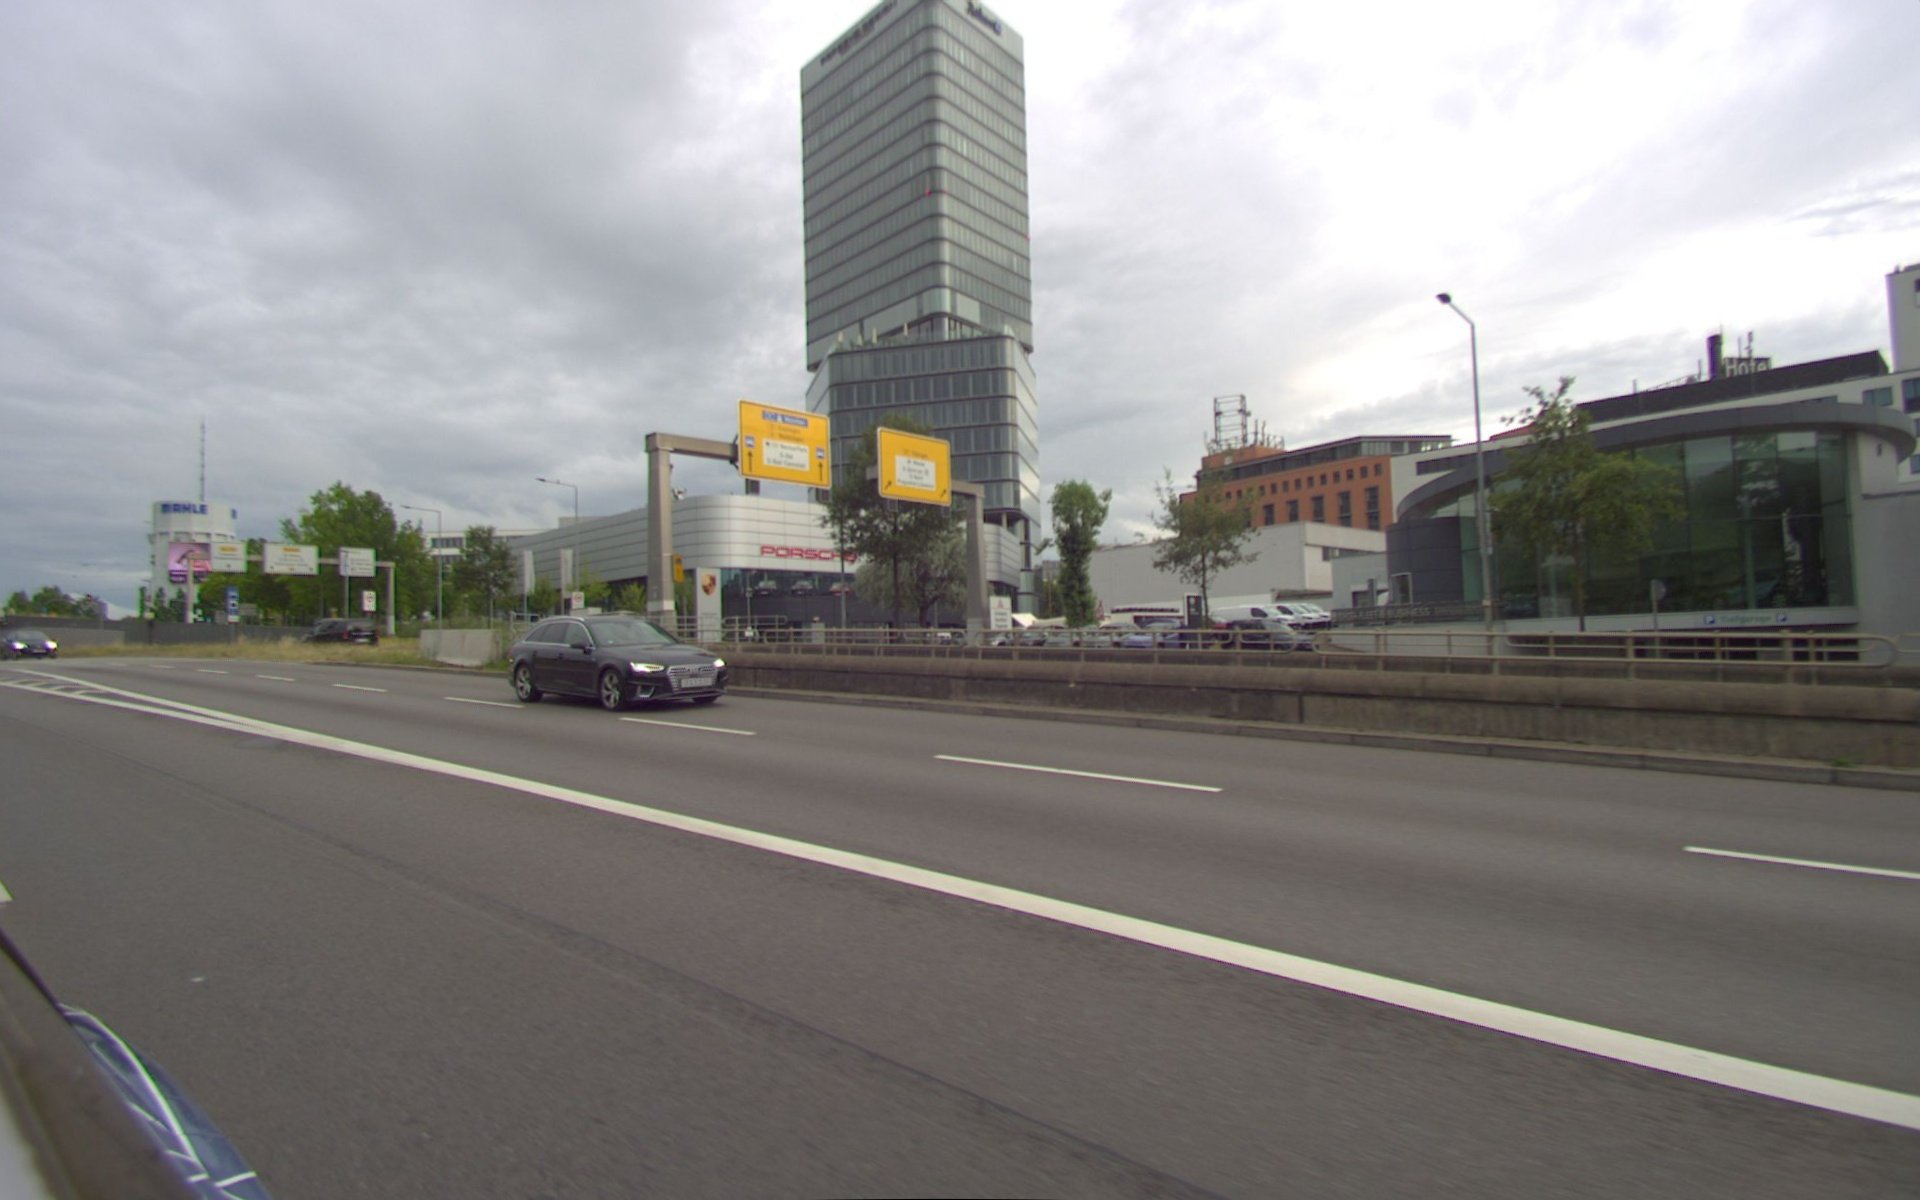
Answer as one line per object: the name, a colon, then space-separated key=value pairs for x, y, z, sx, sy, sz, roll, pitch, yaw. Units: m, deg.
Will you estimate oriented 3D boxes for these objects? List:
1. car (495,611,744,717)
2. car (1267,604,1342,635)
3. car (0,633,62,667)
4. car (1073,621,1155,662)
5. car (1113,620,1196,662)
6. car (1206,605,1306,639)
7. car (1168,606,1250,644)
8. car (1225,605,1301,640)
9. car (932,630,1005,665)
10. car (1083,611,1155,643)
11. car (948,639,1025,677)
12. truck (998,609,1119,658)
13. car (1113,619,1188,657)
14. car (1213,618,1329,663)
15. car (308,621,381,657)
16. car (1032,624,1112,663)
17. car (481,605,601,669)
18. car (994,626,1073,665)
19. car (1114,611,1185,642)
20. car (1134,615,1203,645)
car: x=-5.601 y=0.936 z=16.316 sx=4.631 sy=1.430 sz=1.790 roll=-1 pitch=0 yaw=43
car: x=21.694 y=1.263 z=63.820 sx=1.894 sy=1.696 sz=4.004 roll=-2 pitch=-3 yaw=-43
car: x=-48.143 y=2.560 z=52.198 sx=3.991 sy=1.644 sz=1.851 roll=-1 pitch=-1 yaw=35
car: x=7.402 y=1.978 z=48.495 sx=1.923 sy=1.696 sz=3.944 roll=-5 pitch=-3 yaw=42
car: x=9.033 y=1.878 z=46.804 sx=1.923 sy=1.696 sz=3.944 roll=-5 pitch=-3 yaw=42
car: x=17.752 y=1.345 z=60.955 sx=1.970 sy=1.896 sz=5.542 roll=-2 pitch=-1 yaw=-42
car: x=13.981 y=1.434 z=56.946 sx=1.879 sy=1.896 sz=4.004 roll=-2 pitch=-3 yaw=-42
car: x=18.877 y=1.424 z=63.227 sx=1.970 sy=1.896 sz=4.004 roll=-2 pitch=-3 yaw=-42
car: x=0.477 y=2.551 z=54.750 sx=1.699 sy=1.612 sz=3.957 roll=-5 pitch=-3 yaw=42
car: x=9.840 y=1.684 z=62.820 sx=1.894 sy=1.696 sz=4.004 roll=-2 pitch=-3 yaw=-43
car: x=1.441 y=3.069 z=53.629 sx=1.923 sy=1.696 sz=3.944 roll=-5 pitch=-3 yaw=42
truck: x=5.956 y=2.088 z=62.159 sx=7.413 sy=2.547 sz=2.340 roll=-5 pitch=-3 yaw=44
car: x=9.863 y=1.956 z=52.183 sx=1.923 sy=1.696 sz=3.944 roll=-5 pitch=-3 yaw=42
car: x=13.016 y=1.733 z=42.601 sx=1.890 sy=1.696 sz=4.515 roll=-2 pitch=-2 yaw=-30
car: x=-33.627 y=2.095 z=55.237 sx=4.624 sy=1.843 sz=1.793 roll=-1 pitch=0 yaw=37
car: x=5.583 y=2.143 z=50.085 sx=1.923 sy=1.696 sz=3.944 roll=-5 pitch=-3 yaw=42
car: x=-11.984 y=1.069 z=28.840 sx=3.546 sy=1.602 sz=1.671 roll=-5 pitch=-3 yaw=40
car: x=3.786 y=2.317 z=51.700 sx=1.923 sy=1.696 sz=3.944 roll=-5 pitch=-3 yaw=42
car: x=12.069 y=1.724 z=64.598 sx=1.894 sy=1.696 sz=4.004 roll=-2 pitch=-3 yaw=-43
car: x=13.598 y=1.963 z=66.102 sx=1.894 sy=1.696 sz=4.004 roll=-2 pitch=-3 yaw=-43
